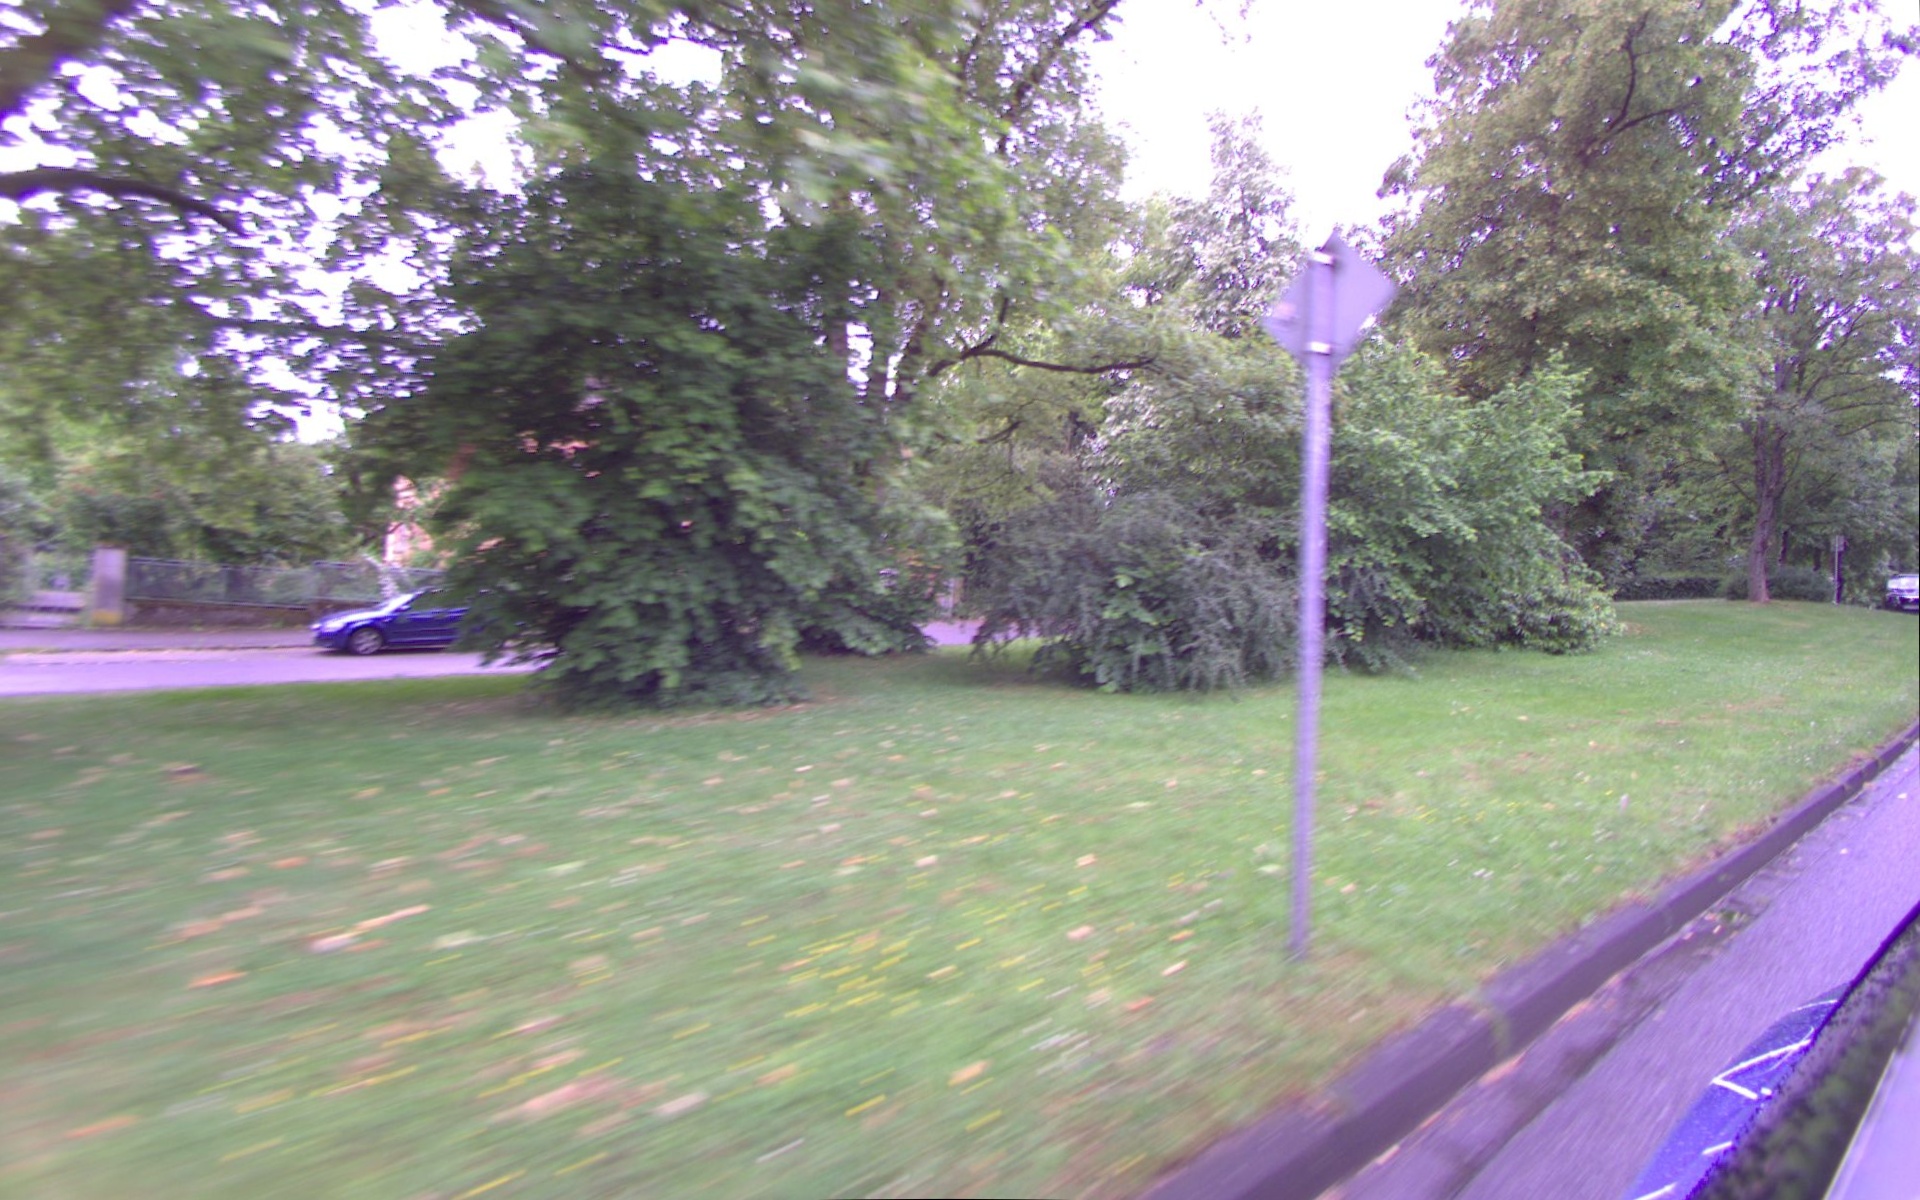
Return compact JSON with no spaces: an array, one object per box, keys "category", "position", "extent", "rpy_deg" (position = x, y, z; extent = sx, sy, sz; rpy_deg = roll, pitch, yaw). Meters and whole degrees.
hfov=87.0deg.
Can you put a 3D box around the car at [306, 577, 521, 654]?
[{"category":"car","position":[-12.150,0.274,22.639],"extent":[3.992,1.498,1.648],"rpy_deg":[-1,4,-41]}]

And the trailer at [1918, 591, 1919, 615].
[{"category":"trailer","position":[69.898,0.225,72.313],"extent":[4.495,1.621,1.995],"rpy_deg":[2,-1,-45]}]

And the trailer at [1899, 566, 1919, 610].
[{"category":"trailer","position":[47.091,-0.564,49.328],"extent":[3.887,2.079,1.698],"rpy_deg":[-1,2,-45]}]

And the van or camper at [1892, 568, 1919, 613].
[{"category":"van or camper","position":[43.829,-0.408,45.915],"extent":[5.573,1.891,1.995],"rpy_deg":[0,3,-45]}]
